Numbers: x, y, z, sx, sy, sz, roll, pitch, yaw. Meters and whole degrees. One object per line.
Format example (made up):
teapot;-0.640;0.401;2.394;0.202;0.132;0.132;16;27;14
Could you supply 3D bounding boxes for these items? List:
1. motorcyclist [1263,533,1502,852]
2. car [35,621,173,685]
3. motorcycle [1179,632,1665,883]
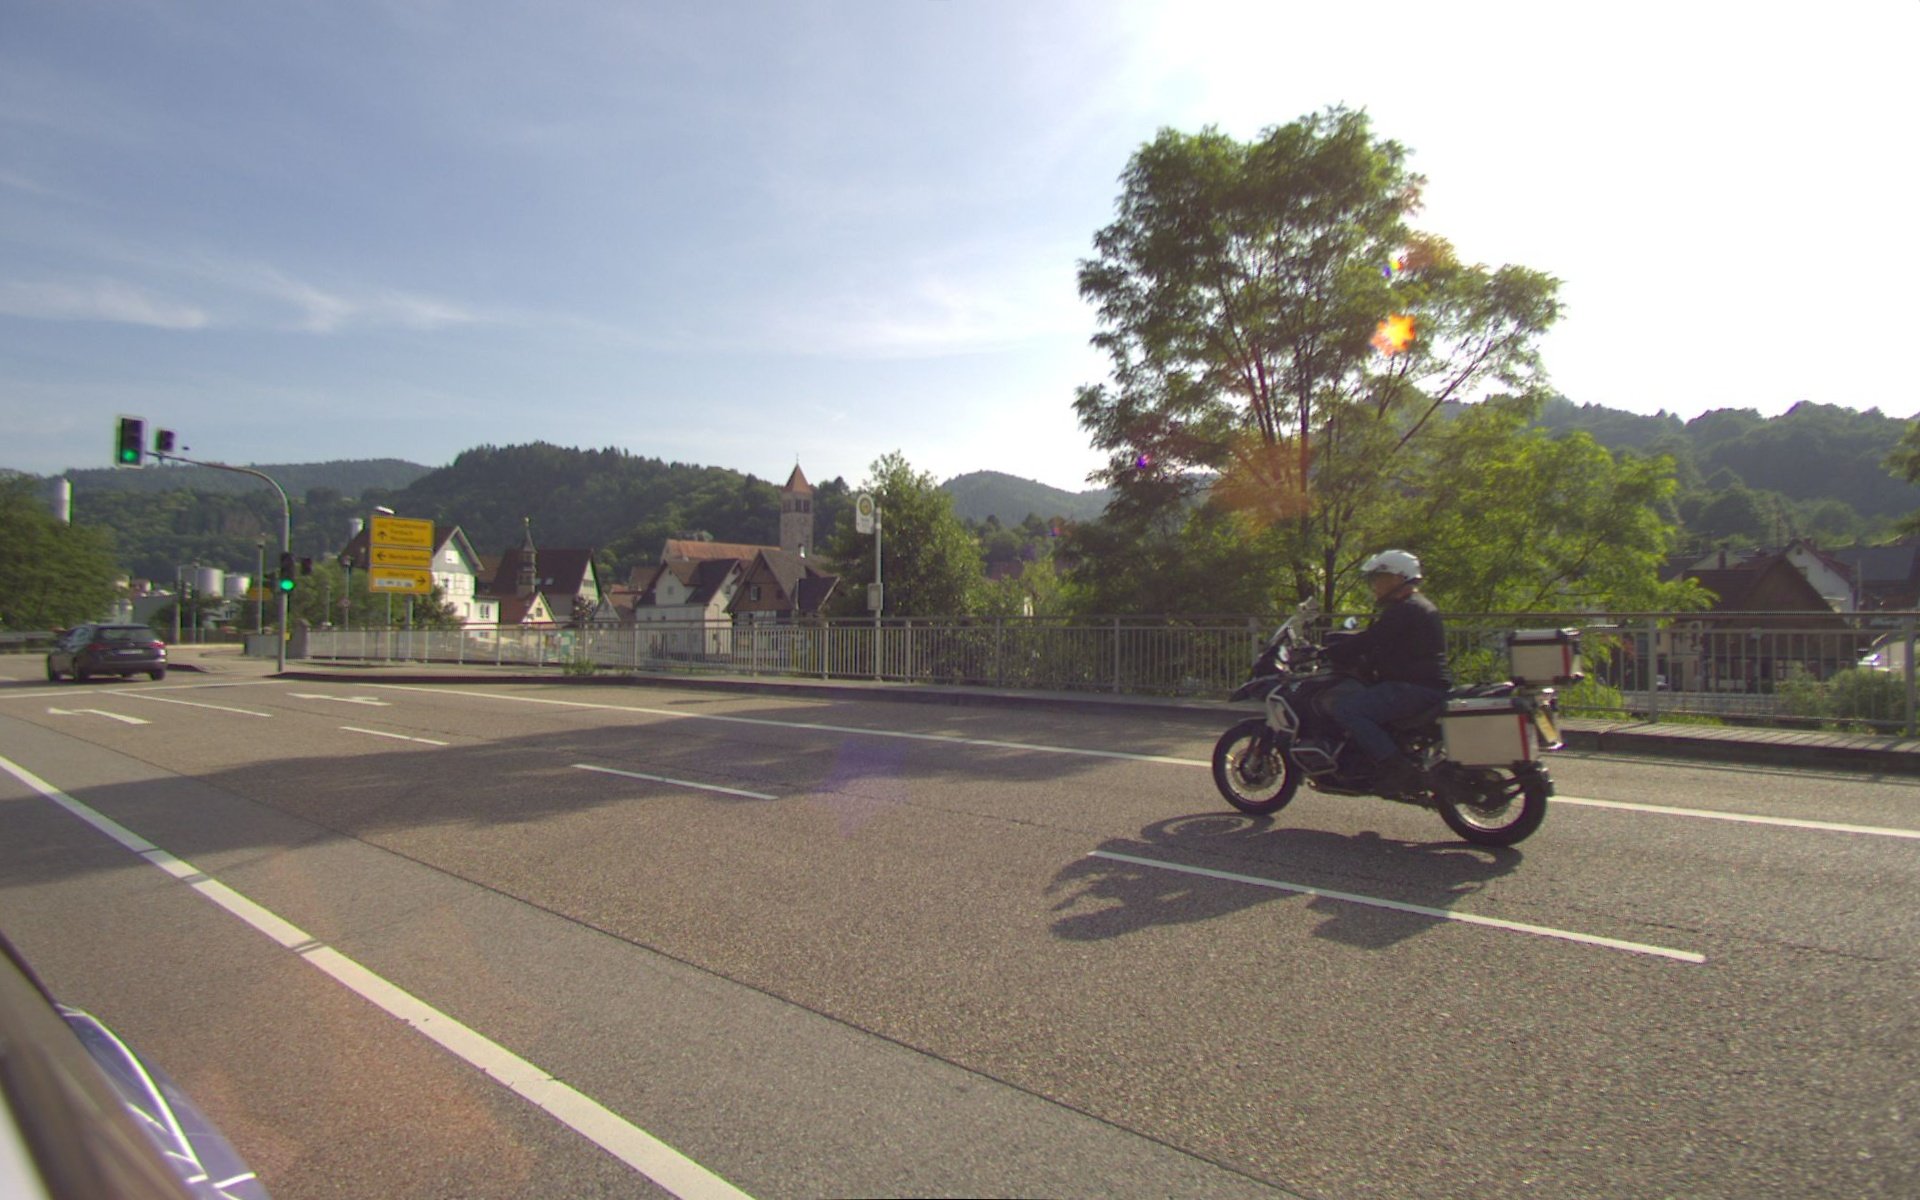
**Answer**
motorcyclist;2.667;0.534;6.413;1.171;1.798;0.836;-2;-1;41
car;-21.994;1.290;25.941;4.747;1.490;1.768;-1;-1;38
motorcycle;2.755;0.826;6.290;2.571;1.230;0.962;-2;-1;41
